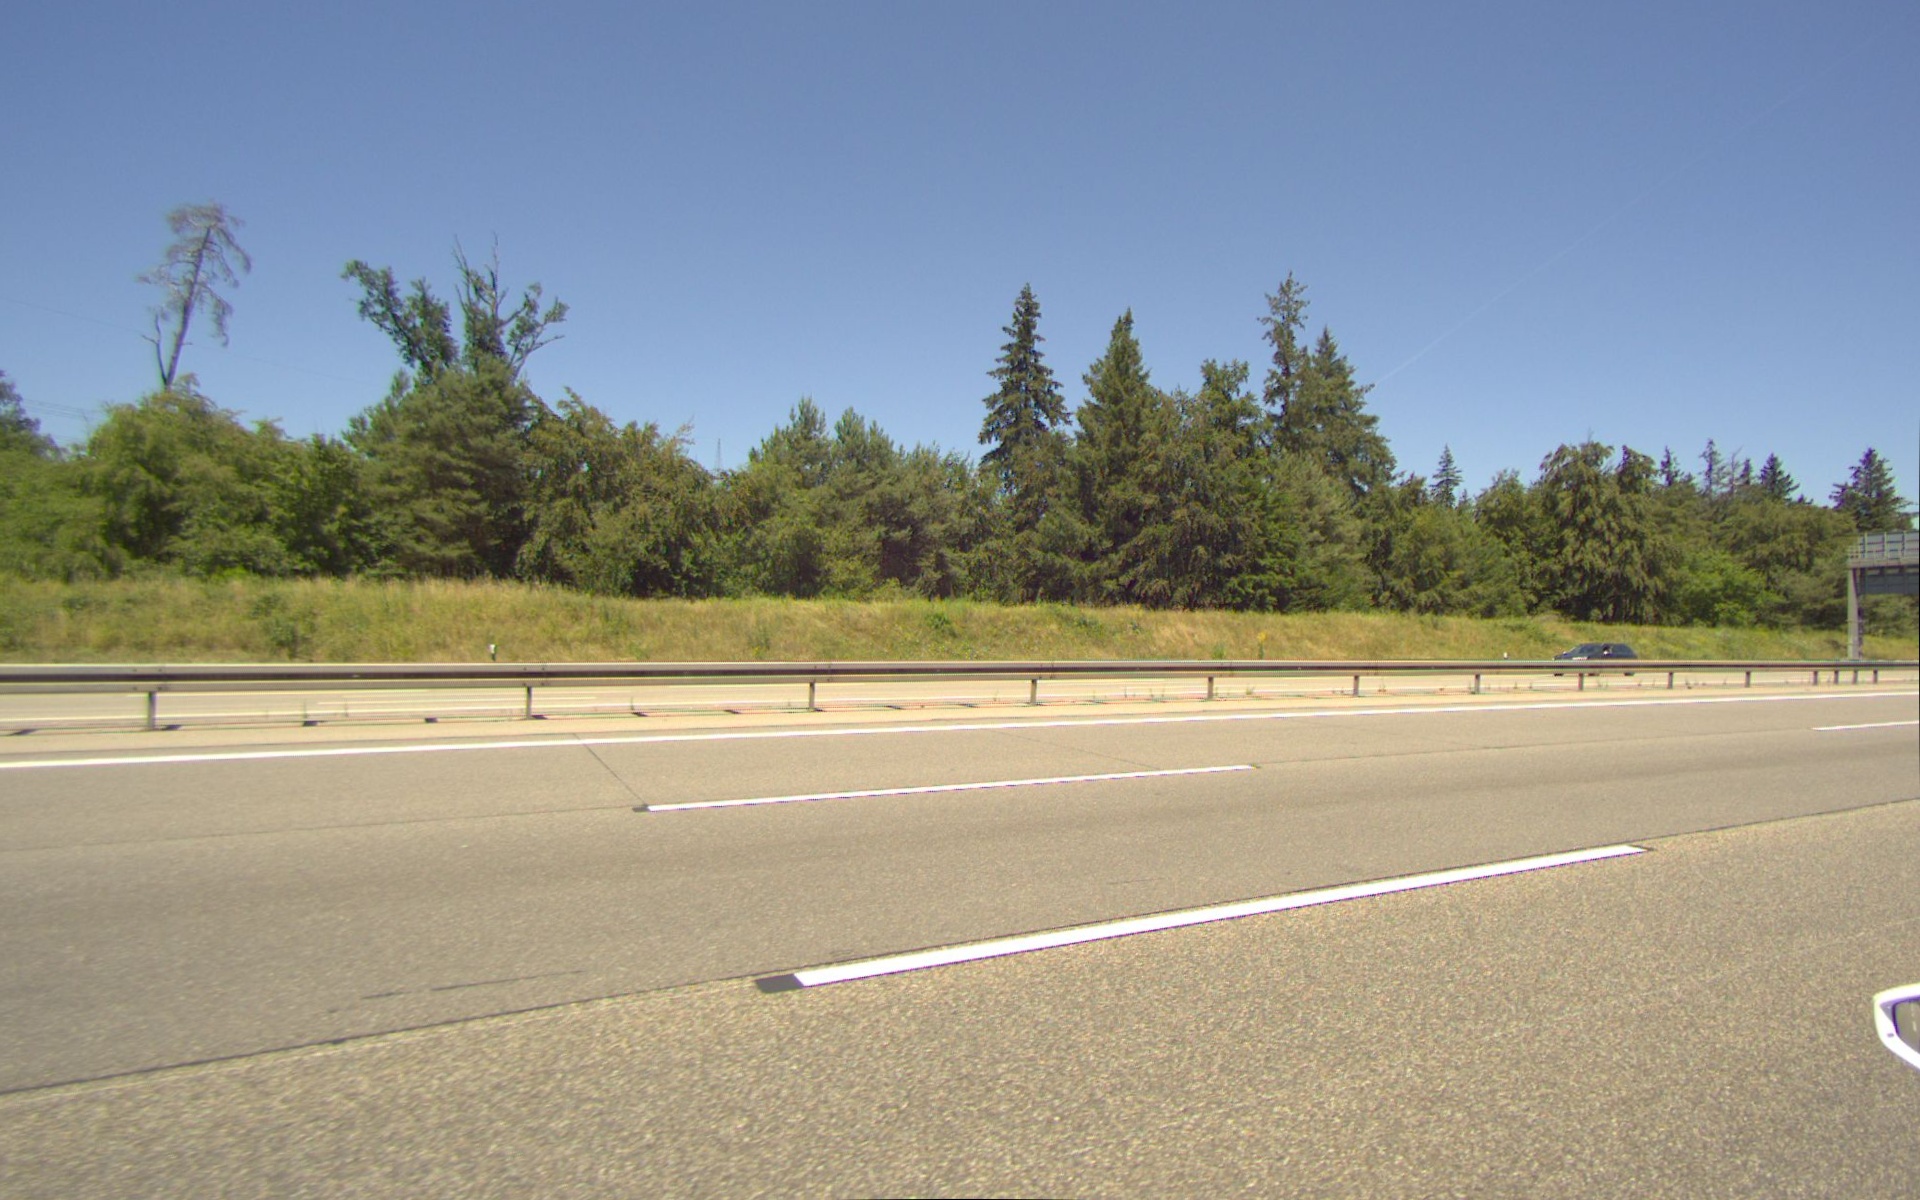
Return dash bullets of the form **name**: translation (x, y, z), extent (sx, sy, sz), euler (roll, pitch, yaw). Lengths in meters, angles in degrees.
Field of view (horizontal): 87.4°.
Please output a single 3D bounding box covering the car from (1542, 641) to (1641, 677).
- **car**: translation (29.030, 2.701, 46.150), extent (4.686, 1.529, 1.819), euler (2, -2, -29)
